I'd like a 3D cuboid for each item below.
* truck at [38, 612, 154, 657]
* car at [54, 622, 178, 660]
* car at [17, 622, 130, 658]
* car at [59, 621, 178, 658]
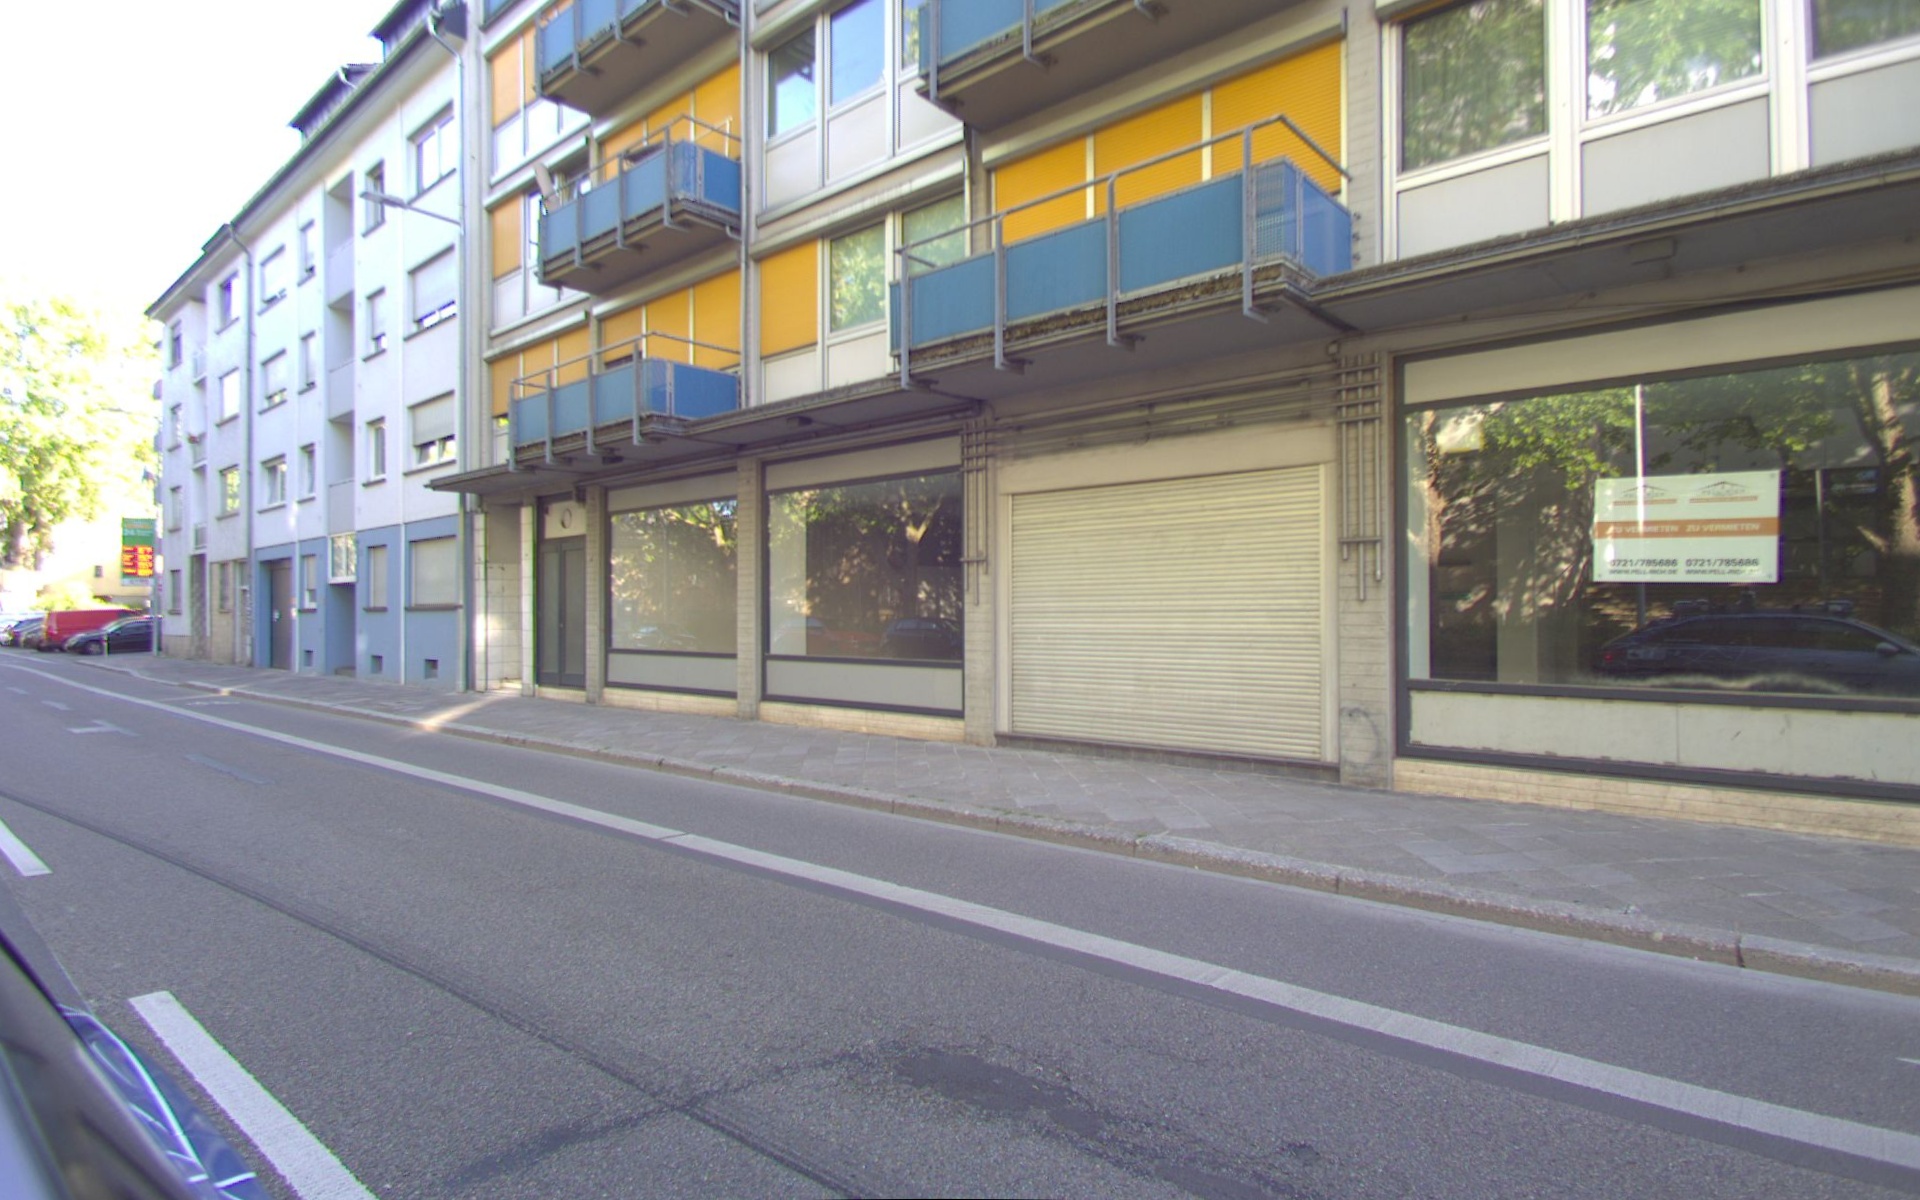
[{"bbox_3d":[-40.500,1.569,47.482,1.761,1.951,3.944,-1,0,42],"label":"truck"},{"bbox_3d":[-36.628,1.760,44.003,1.761,1.468,3.944,-1,0,42],"label":"car"},{"bbox_3d":[-42.910,1.902,49.029,1.761,1.514,3.944,-1,0,42],"label":"car"},{"bbox_3d":[-38.109,1.756,45.891,1.761,1.514,3.944,-1,0,42],"label":"car"}]
